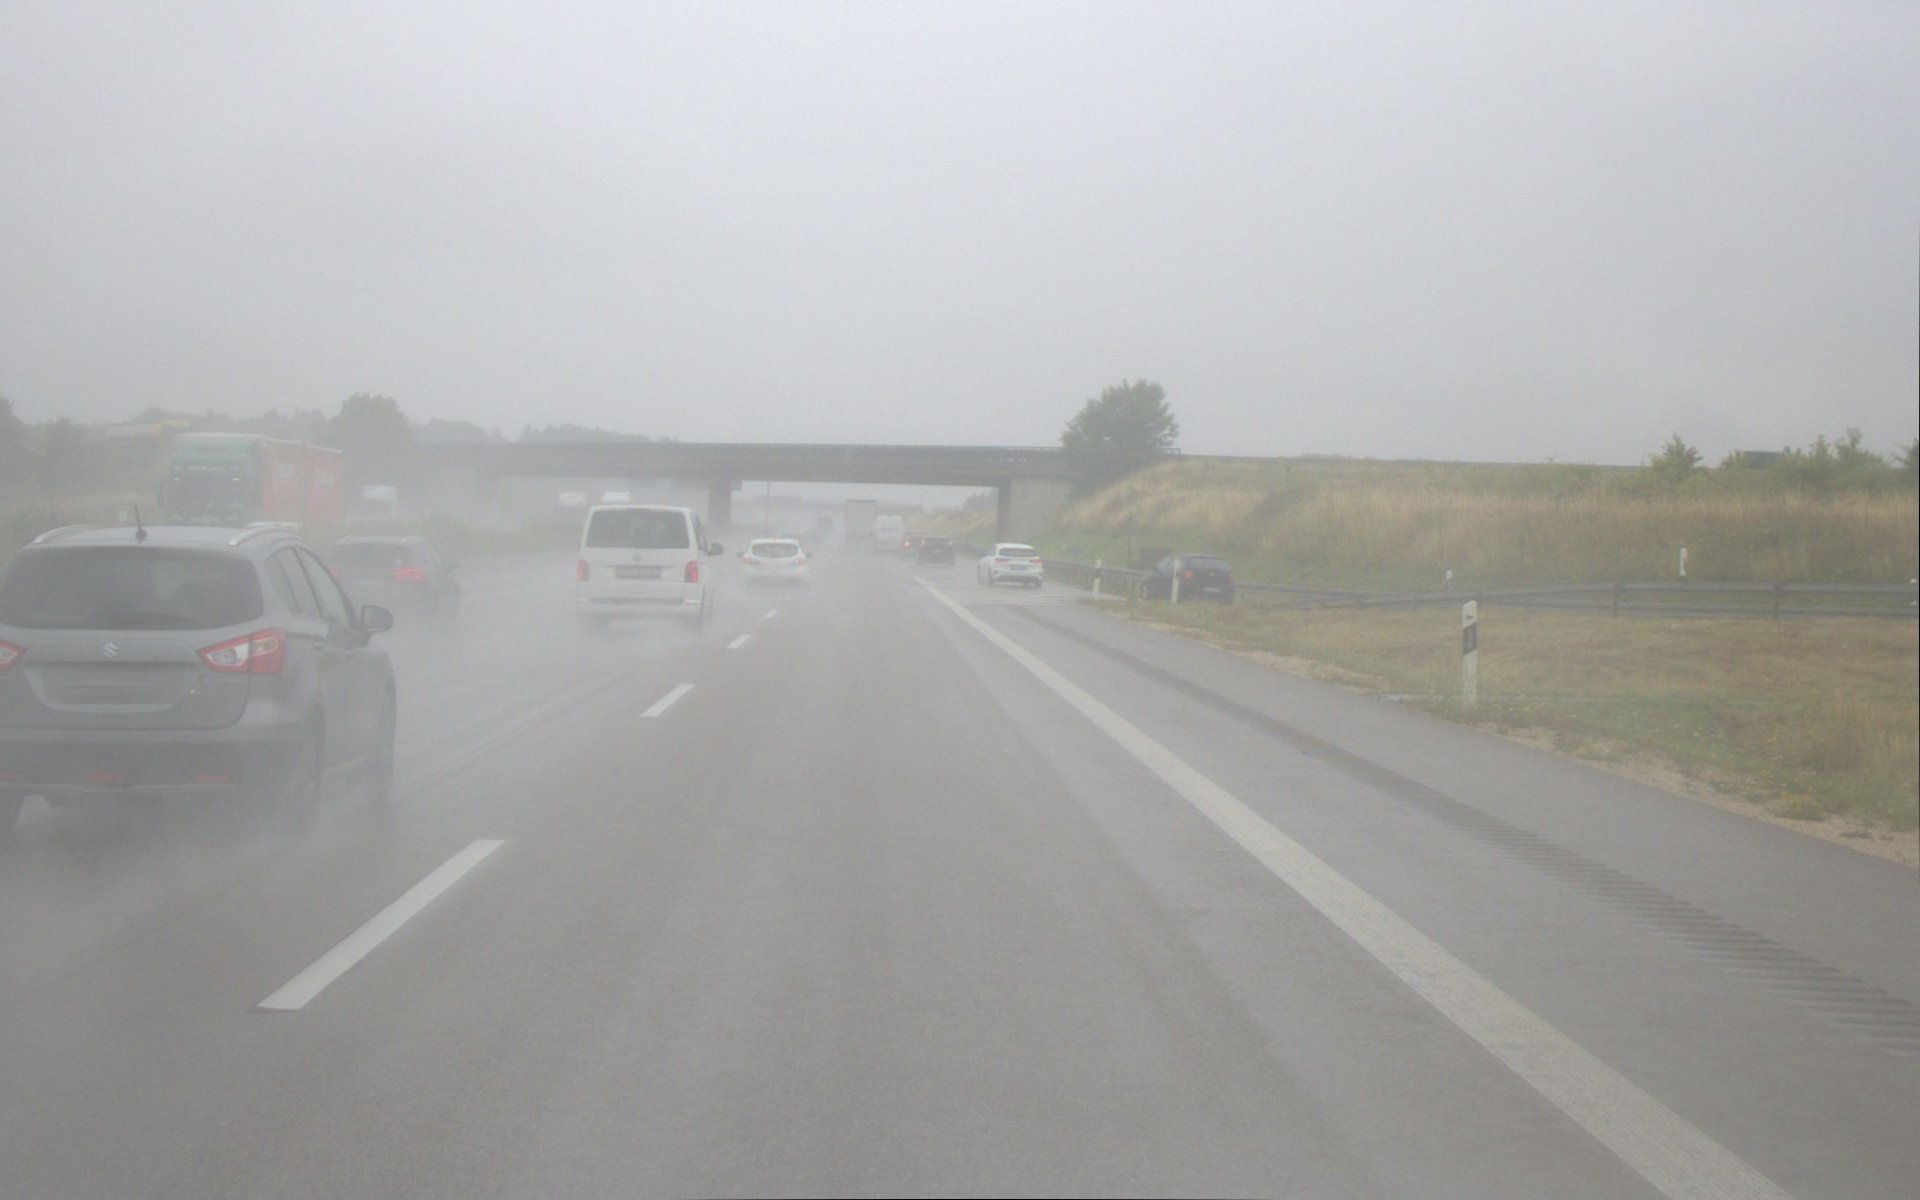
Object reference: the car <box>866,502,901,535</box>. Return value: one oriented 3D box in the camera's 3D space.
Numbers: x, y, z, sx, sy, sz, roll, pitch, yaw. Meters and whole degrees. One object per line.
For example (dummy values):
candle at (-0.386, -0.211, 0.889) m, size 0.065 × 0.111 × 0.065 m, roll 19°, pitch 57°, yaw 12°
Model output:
car at (-4.977, -5.278, 222.778) m, size 1.993 × 2.094 × 4.001 m, roll 1°, pitch 1°, yaw -4°

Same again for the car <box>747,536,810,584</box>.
car at (-4.661, -1.022, 88.500) m, size 1.468 × 1.204 × 2.991 m, roll 0°, pitch 1°, yaw -1°

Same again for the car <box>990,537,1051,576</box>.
car at (2.021, -1.469, 116.302) m, size 1.993 × 1.262 × 4.000 m, roll 1°, pitch 1°, yaw 0°

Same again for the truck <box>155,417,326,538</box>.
truck at (-21.446, -3.610, 103.082) m, size 3.265 × 3.429 × 10.131 m, roll 0°, pitch 1°, yaw -2°

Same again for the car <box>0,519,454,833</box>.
car at (-4.106, 0.326, 19.001) m, size 1.846 × 1.508 × 4.757 m, roll 1°, pitch 1°, yaw 1°

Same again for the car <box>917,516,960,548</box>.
car at (-1.029, -3.282, 165.289) m, size 1.800 × 1.503 × 4.001 m, roll 1°, pitch 1°, yaw -4°

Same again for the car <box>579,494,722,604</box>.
car at (-4.674, -0.768, 52.383) m, size 1.897 × 1.580 × 4.000 m, roll 1°, pitch 1°, yaw -1°

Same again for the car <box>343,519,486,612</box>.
car at (-8.362, -0.532, 52.946) m, size 1.612 × 1.349 × 4.000 m, roll 1°, pitch 1°, yaw -1°

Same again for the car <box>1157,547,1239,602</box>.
car at (6.548, -0.720, 94.939) m, size 1.731 × 1.416 × 3.659 m, roll 1°, pitch 1°, yaw -4°
